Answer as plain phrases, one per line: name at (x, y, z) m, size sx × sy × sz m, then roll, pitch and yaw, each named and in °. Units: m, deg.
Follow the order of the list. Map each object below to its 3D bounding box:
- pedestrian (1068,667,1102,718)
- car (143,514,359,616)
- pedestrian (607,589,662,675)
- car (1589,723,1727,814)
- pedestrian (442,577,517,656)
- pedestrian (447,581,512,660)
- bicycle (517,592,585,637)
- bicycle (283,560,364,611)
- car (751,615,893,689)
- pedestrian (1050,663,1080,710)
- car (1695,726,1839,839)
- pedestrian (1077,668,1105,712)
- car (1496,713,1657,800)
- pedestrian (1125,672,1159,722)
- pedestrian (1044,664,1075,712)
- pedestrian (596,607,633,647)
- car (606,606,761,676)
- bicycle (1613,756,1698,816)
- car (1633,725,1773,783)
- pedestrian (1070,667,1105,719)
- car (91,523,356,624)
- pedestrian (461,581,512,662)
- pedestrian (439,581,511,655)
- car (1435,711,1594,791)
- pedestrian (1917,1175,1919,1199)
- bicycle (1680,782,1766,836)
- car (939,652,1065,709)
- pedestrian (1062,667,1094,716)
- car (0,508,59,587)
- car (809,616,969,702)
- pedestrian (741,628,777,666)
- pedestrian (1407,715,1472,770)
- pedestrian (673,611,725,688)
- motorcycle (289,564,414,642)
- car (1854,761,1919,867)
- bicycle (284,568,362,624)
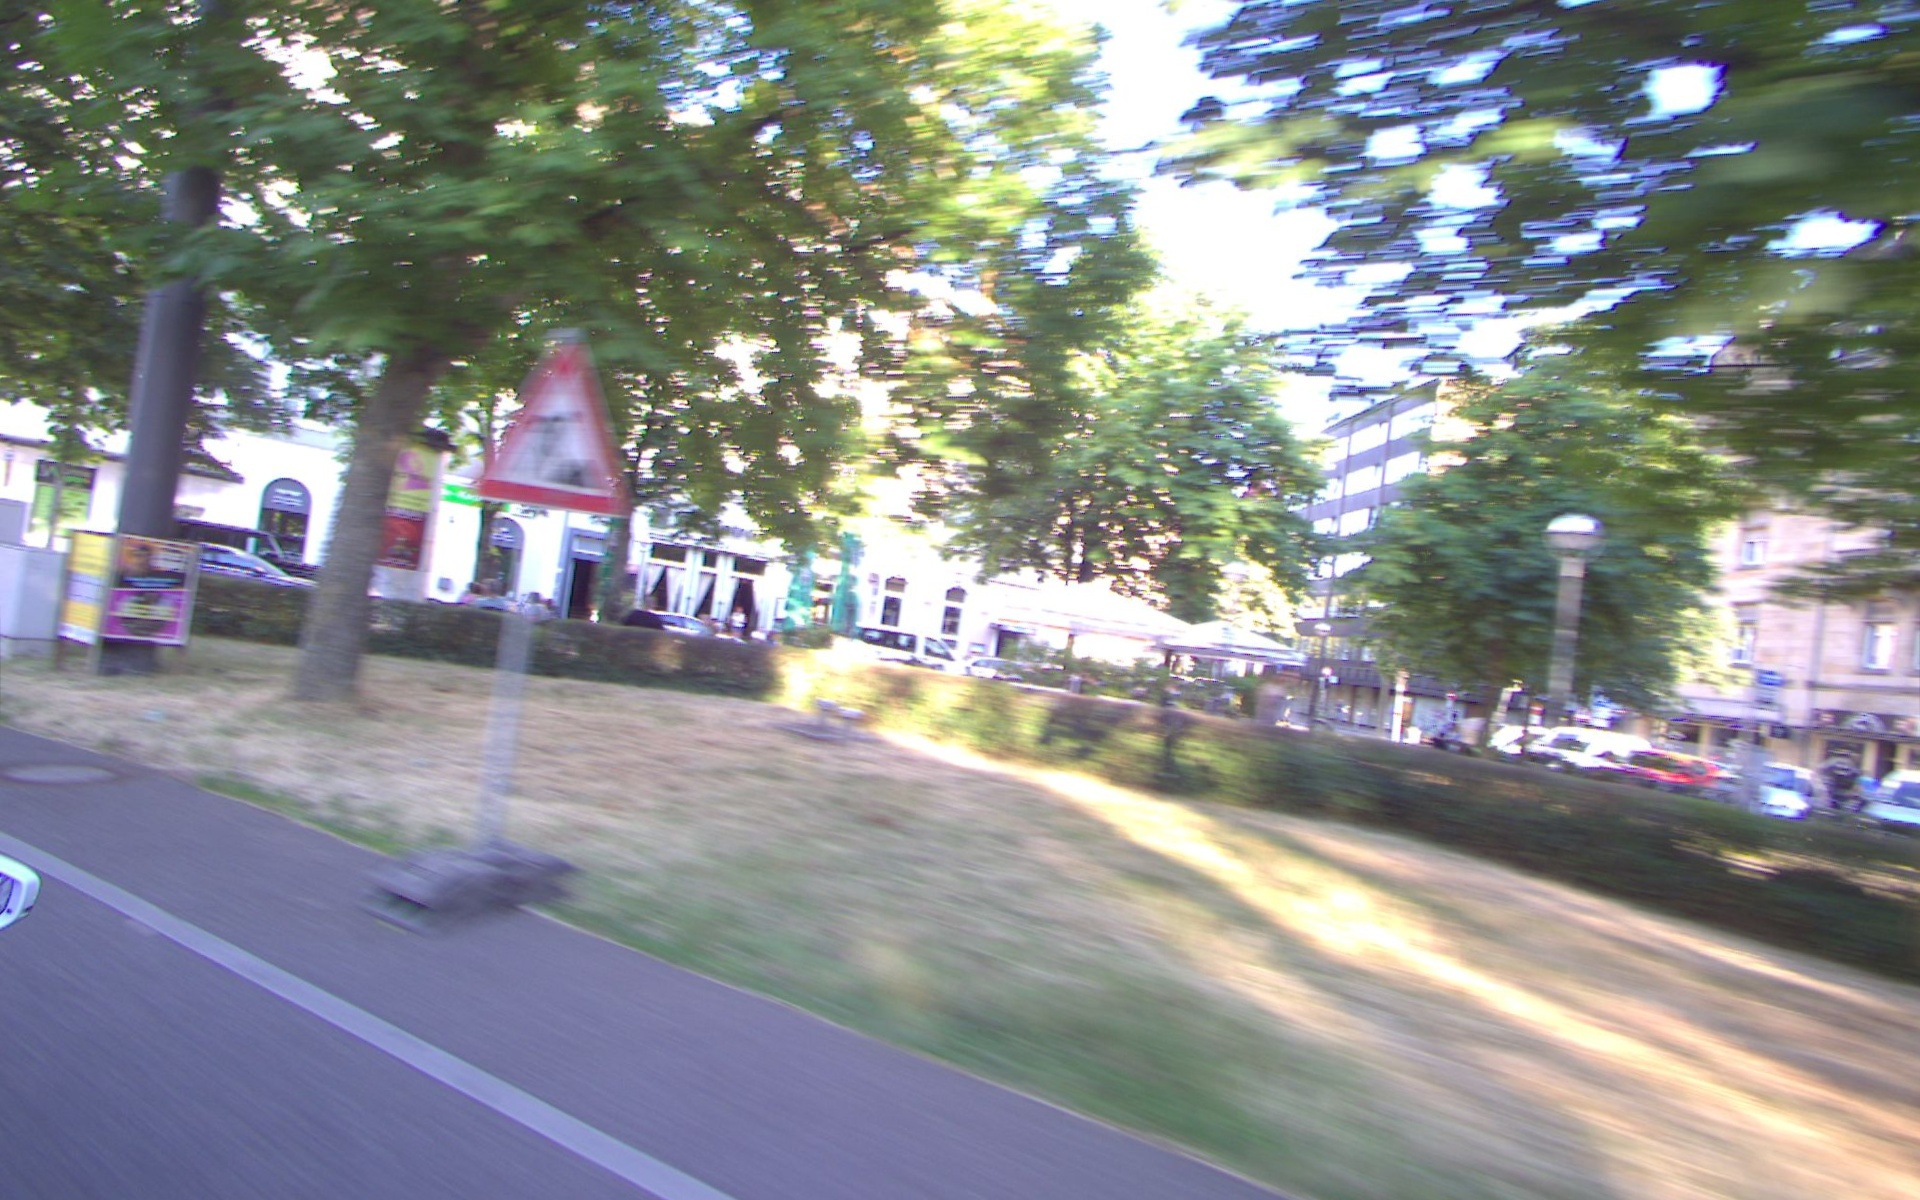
pedestrian at (3.012, 2.218, 24.258) m, size 0.548 × 1.129 × 0.493 m, roll 8°, pitch -2°, yaw -9°
car at (-19.212, -0.896, 27.575) m, size 4.466 × 1.985 × 2.009 m, roll 10°, pitch -3°, yaw -30°
pedestrian at (-5.657, 0.561, 17.535) m, size 0.721 × 1.371 × 1.013 m, roll 7°, pitch -2°, yaw -16°
car at (17.607, 4.263, 25.316) m, size 3.979 × 1.792 × 1.890 m, roll 12°, pitch -4°, yaw -42°
pedestrian at (-9.192, 0.317, 19.243) m, size 0.946 × 1.296 × 0.656 m, roll 15°, pitch -6°, yaw -37°
pedestrian at (-8.497, 0.353, 17.769) m, size 0.773 × 1.256 × 0.980 m, roll 10°, pitch -3°, yaw -32°
bicycle at (-14.134, 0.501, 34.776) m, size 1.967 × 1.259 × 0.682 m, roll 9°, pitch -2°, yaw -30°
bicycle at (-19.811, -0.445, 31.359) m, size 1.967 × 1.259 × 0.682 m, roll 9°, pitch -2°, yaw -30°
car at (-4.967, 1.887, 36.284) m, size 4.467 × 1.984 × 2.009 m, roll 10°, pitch -3°, yaw -30°
pedestrian at (2.743, 2.257, 26.339) m, size 0.548 × 1.129 × 0.458 m, roll 8°, pitch -2°, yaw -9°
car at (18.335, 4.142, 22.780) m, size 3.982 × 2.035 × 1.975 m, roll 12°, pitch -4°, yaw -44°
pedestrian at (3.663, 2.517, 28.136) m, size 0.548 × 1.129 × 0.493 m, roll 8°, pitch -2°, yaw -9°
car at (17.361, 4.403, 28.329) m, size 3.954 × 1.792 × 1.902 m, roll 10°, pitch -3°, yaw -25°
pedestrian at (4.423, 2.355, 24.467) m, size 0.548 × 1.129 × 0.493 m, roll 8°, pitch -2°, yaw -9°
pedestrian at (2.528, 2.224, 25.545) m, size 0.548 × 1.129 × 0.458 m, roll 8°, pitch -2°, yaw -9°
pedestrian at (-12.307, 0.962, 35.817) m, size 1.016 × 1.259 × 0.682 m, roll 9°, pitch -2°, yaw -29°
car at (-9.183, 1.378, 33.513) m, size 4.467 × 1.634 × 2.009 m, roll 10°, pitch -4°, yaw -30°
bicycle at (14.299, 3.817, 20.691) m, size 1.447 × 1.007 × 0.325 m, roll 8°, pitch -2°, yaw -1°
car at (27.202, 5.609, 37.006) m, size 1.917 × 1.513 × 4.002 m, roll 6°, pitch -3°, yaw -4°
pedestrian at (2.990, 2.180, 23.608) m, size 0.548 × 1.129 × 0.493 m, roll 8°, pitch -2°, yaw -9°
car at (-16.754, -0.562, 23.236) m, size 4.626 × 1.530 × 1.726 m, roll 10°, pitch -3°, yaw -30°
pedestrian at (-7.834, 0.357, 16.668) m, size 0.561 × 1.258 × 0.610 m, roll 8°, pitch -2°, yaw -19°
pedestrian at (-9.609, 0.347, 19.933) m, size 0.946 × 1.254 × 0.656 m, roll 15°, pitch -6°, yaw -37°
car at (17.328, 4.701, 31.512) m, size 3.937 × 1.792 × 1.910 m, roll 9°, pitch -3°, yaw -12°
pedestrian at (2.336, 0.913, 1.818) m, size 0.634 × 1.763 × 0.587 m, roll 8°, pitch -1°, yaw -16°
bicycle at (14.011, 3.837, 18.482) m, size 1.253 × 0.788 × 0.446 m, roll 8°, pitch -2°, yaw -7°
car at (1.669, 3.195, 39.812) m, size 4.467 × 1.588 × 2.009 m, roll 10°, pitch -4°, yaw -30°
pedestrian at (2.918, 2.257, 24.953) m, size 0.548 × 1.129 × 0.493 m, roll 8°, pitch -2°, yaw -9°
car at (-21.204, -1.318, 20.683) m, size 3.541 × 1.530 × 1.726 m, roll 10°, pitch -3°, yaw -30°
car at (-2.221, 1.875, 31.675) m, size 4.389 × 2.035 × 1.987 m, roll 10°, pitch -3°, yaw -28°
pedestrian at (-7.636, 1.781, 38.244) m, size 1.016 × 1.259 × 0.682 m, roll 9°, pitch -2°, yaw -29°
pedestrian at (13.221, 3.921, 27.788) m, size 1.427 × 1.263 × 1.034 m, roll 7°, pitch -3°, yaw 23°
pedestrian at (-4.778, 0.896, 18.384) m, size 0.654 × 1.254 × 0.950 m, roll 12°, pitch -5°, yaw -15°
motorcycle at (-13.489, 0.107, 22.409) m, size 0.933 × 1.382 × 2.249 m, roll 7°, pitch -4°, yaw 12°
car at (18.633, 4.193, 19.222) m, size 3.982 × 1.724 × 1.975 m, roll 12°, pitch -4°, yaw -44°
bicycle at (-12.292, -0.058, 19.457) m, size 0.546 × 0.939 × 1.530 m, roll 8°, pitch -3°, yaw -6°
